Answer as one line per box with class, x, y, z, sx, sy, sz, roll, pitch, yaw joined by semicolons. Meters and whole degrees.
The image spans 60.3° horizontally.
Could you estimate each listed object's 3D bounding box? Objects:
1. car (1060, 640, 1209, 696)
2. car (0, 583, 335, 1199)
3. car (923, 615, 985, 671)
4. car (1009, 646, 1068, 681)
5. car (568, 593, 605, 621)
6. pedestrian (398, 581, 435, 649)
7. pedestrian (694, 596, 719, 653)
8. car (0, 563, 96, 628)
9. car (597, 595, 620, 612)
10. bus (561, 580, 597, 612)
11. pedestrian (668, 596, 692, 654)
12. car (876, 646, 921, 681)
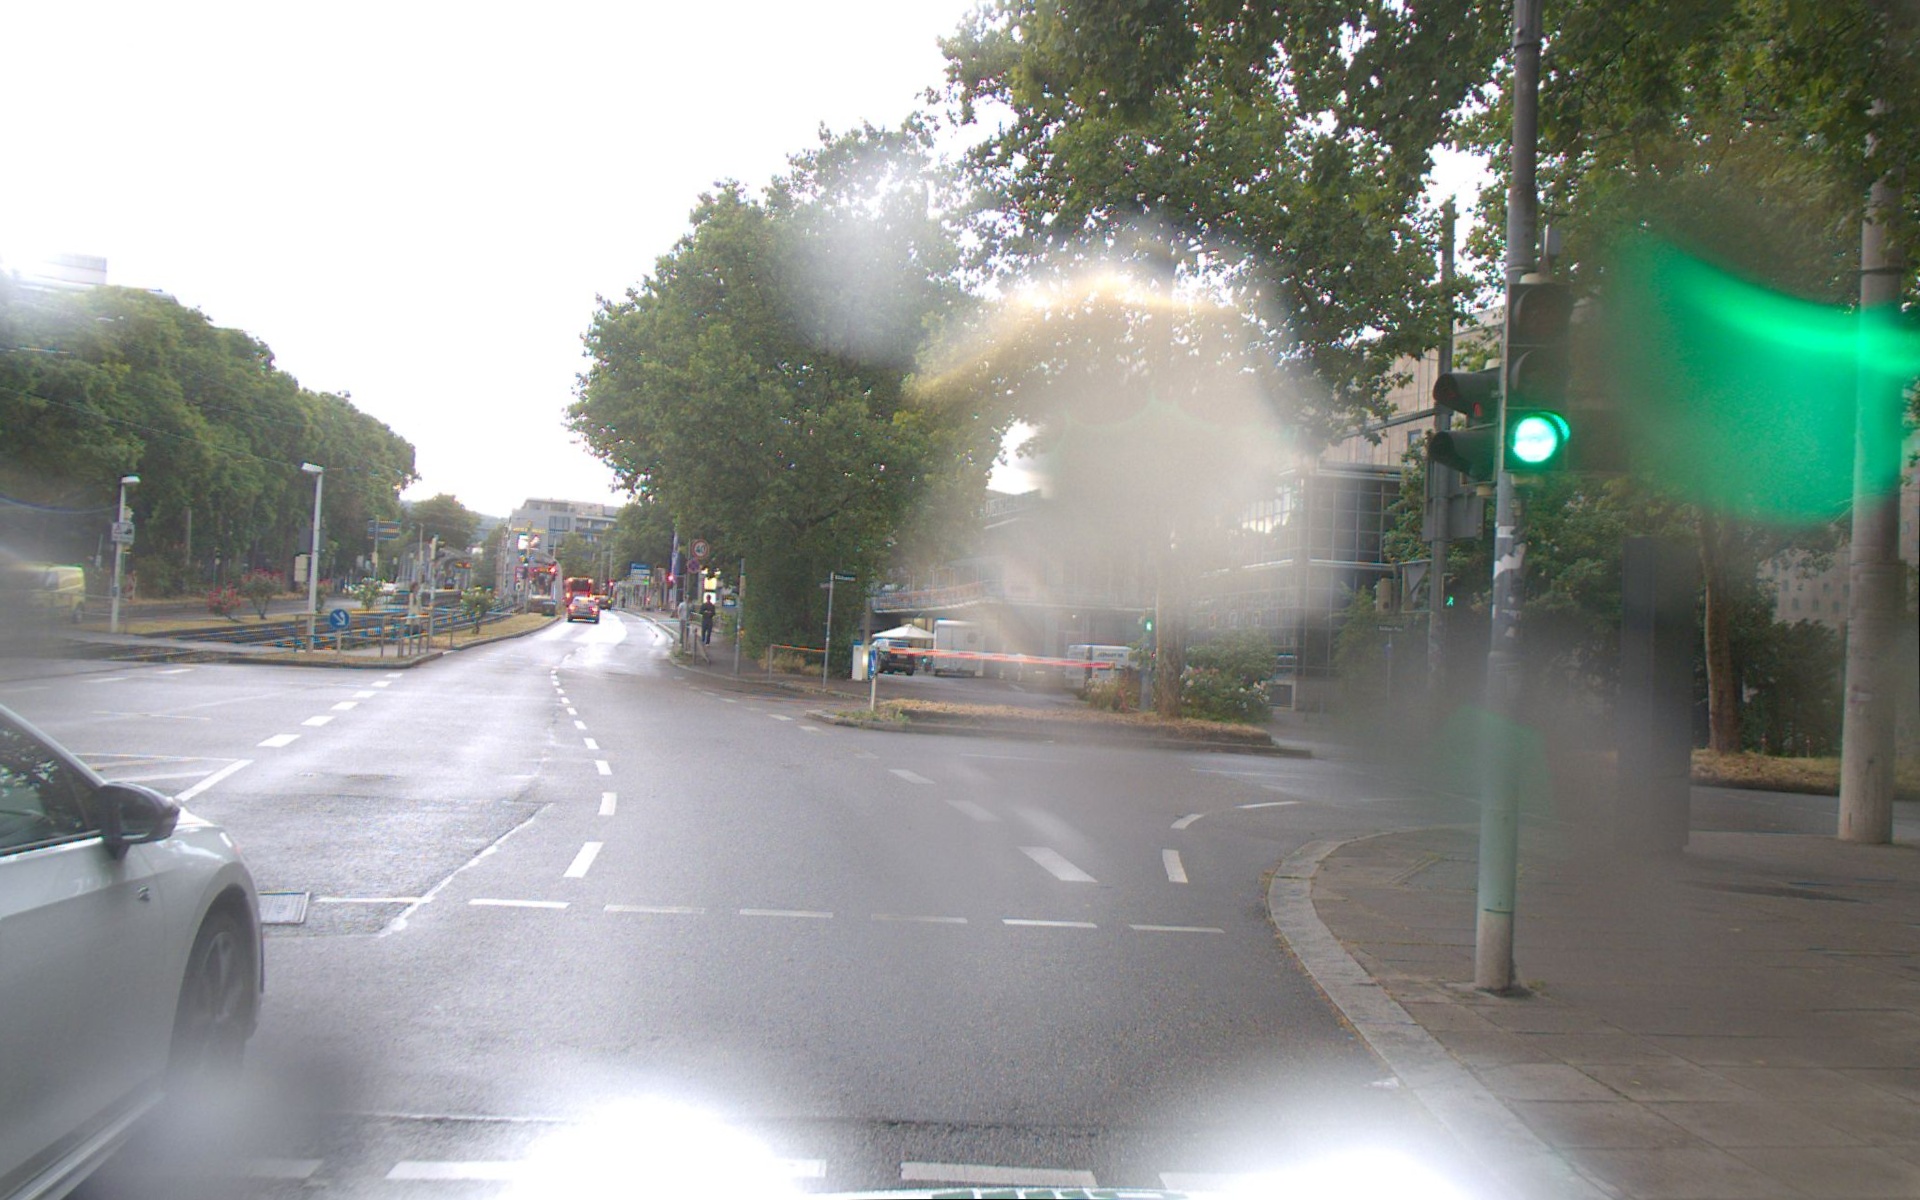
car;6.353;2.480;60.181;5.135;1.761;1.859;4;-1;-26
car;-2.639;0.686;2.871;1.761;1.468;4.469;1;-1;-6
car;-0.388;2.285;89.244;2.678;2.742;6.915;3;-1;-5
car;4.099;3.305;87.071;1.985;1.578;4.336;3;-1;-13
car;-21.725;0.431;96.297;1.958;1.545;4.337;1;-1;-12
pedestrian;-15.077;0.411;45.906;0.856;1.834;0.864;3;-1;-18
pedestrian;-9.231;0.874;60.357;0.858;2.049;1.075;1;-1;-8
car;-28.319;-0.119;50.517;1.884;1.883;4.558;2;-1;-8
car;-38.005;0.402;178.709;2.322;1.849;5.165;1;-1;-13
bus;-40.030;-0.376;173.711;3.528;3.227;10.384;1;-1;-13
pedestrian;-10.162;0.909;60.109;0.799;2.049;1.075;1;-1;-8
car;-3.164;3.282;85.754;1.978;1.578;4.350;3;-1;1
